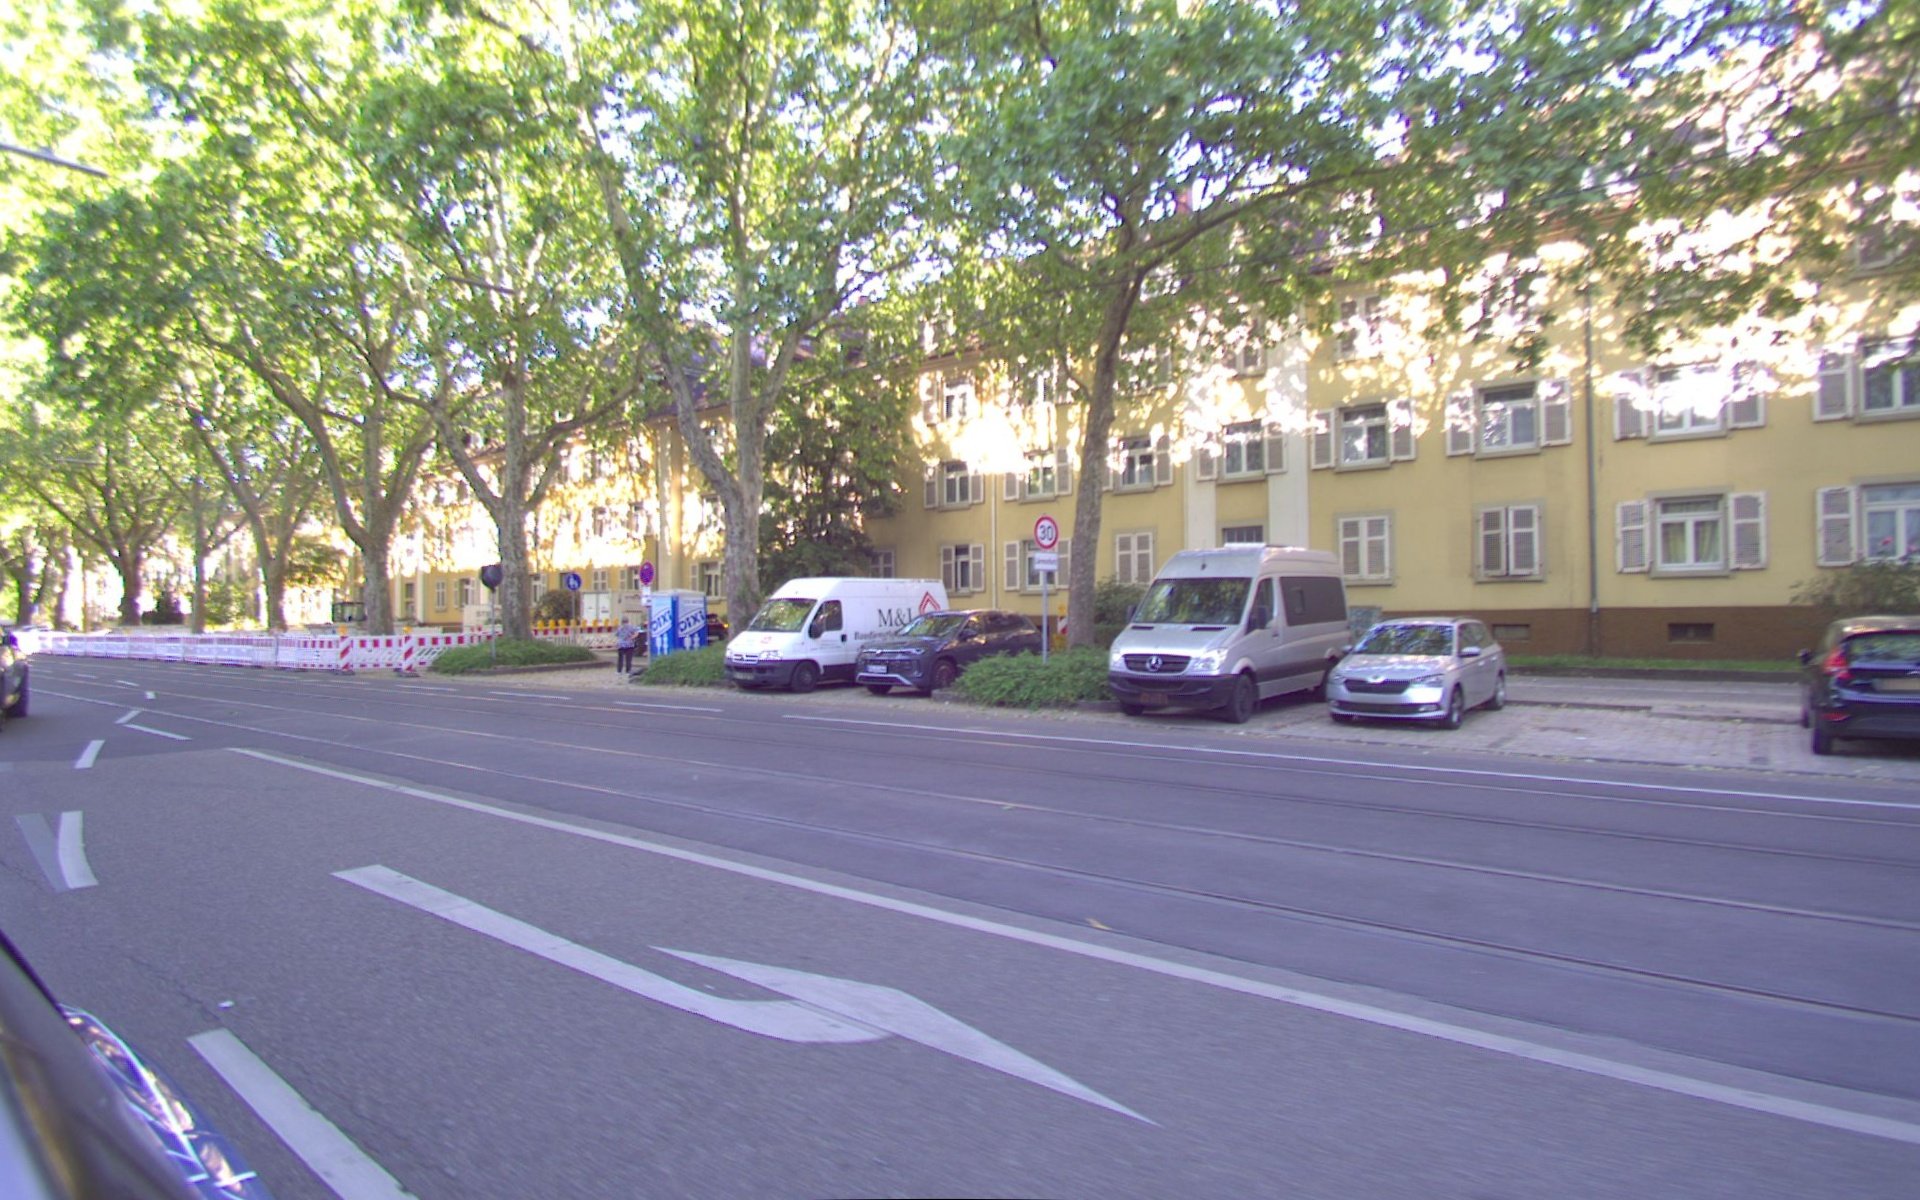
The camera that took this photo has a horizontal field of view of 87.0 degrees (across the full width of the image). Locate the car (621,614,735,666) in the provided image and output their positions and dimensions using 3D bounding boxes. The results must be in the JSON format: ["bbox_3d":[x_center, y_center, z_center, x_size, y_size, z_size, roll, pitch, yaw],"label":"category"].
[{"bbox_3d":[-9.820,1.371,35.097,4.219,1.613,1.806,-2,0,41],"label":"car"}]

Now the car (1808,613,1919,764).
[{"bbox_3d":[10.603,0.889,11.225,1.741,1.440,3.528,-2,-1,39],"label":"car"}]

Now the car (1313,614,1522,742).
[{"bbox_3d":[6.790,1.010,14.796,1.729,1.481,4.102,0,1,40],"label":"car"}]

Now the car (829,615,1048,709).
[{"bbox_3d":[-0.305,1.149,20.301,1.967,1.643,4.519,-2,-2,38],"label":"car"}]

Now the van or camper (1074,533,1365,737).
[{"bbox_3d":[4.445,0.472,16.395,2.227,2.697,6.051,-2,-1,39],"label":"van or camper"}]

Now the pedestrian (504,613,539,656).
[{"bbox_3d":[-21.099,1.669,48.698,1.233,2.029,1.085,-2,-2,36],"label":"pedestrian"}]

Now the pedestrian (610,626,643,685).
[{"bbox_3d":[-9.110,1.506,27.651,0.717,1.585,0.588,-2,-2,43],"label":"pedestrian"}]

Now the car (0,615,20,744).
[{"bbox_3d":[-14.527,1.120,14.033,1.914,1.756,4.482,-1,-1,-40],"label":"car"}]

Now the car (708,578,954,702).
[{"bbox_3d":[-2.648,0.830,22.234,2.023,2.394,5.542,-2,-2,39],"label":"car"}]
